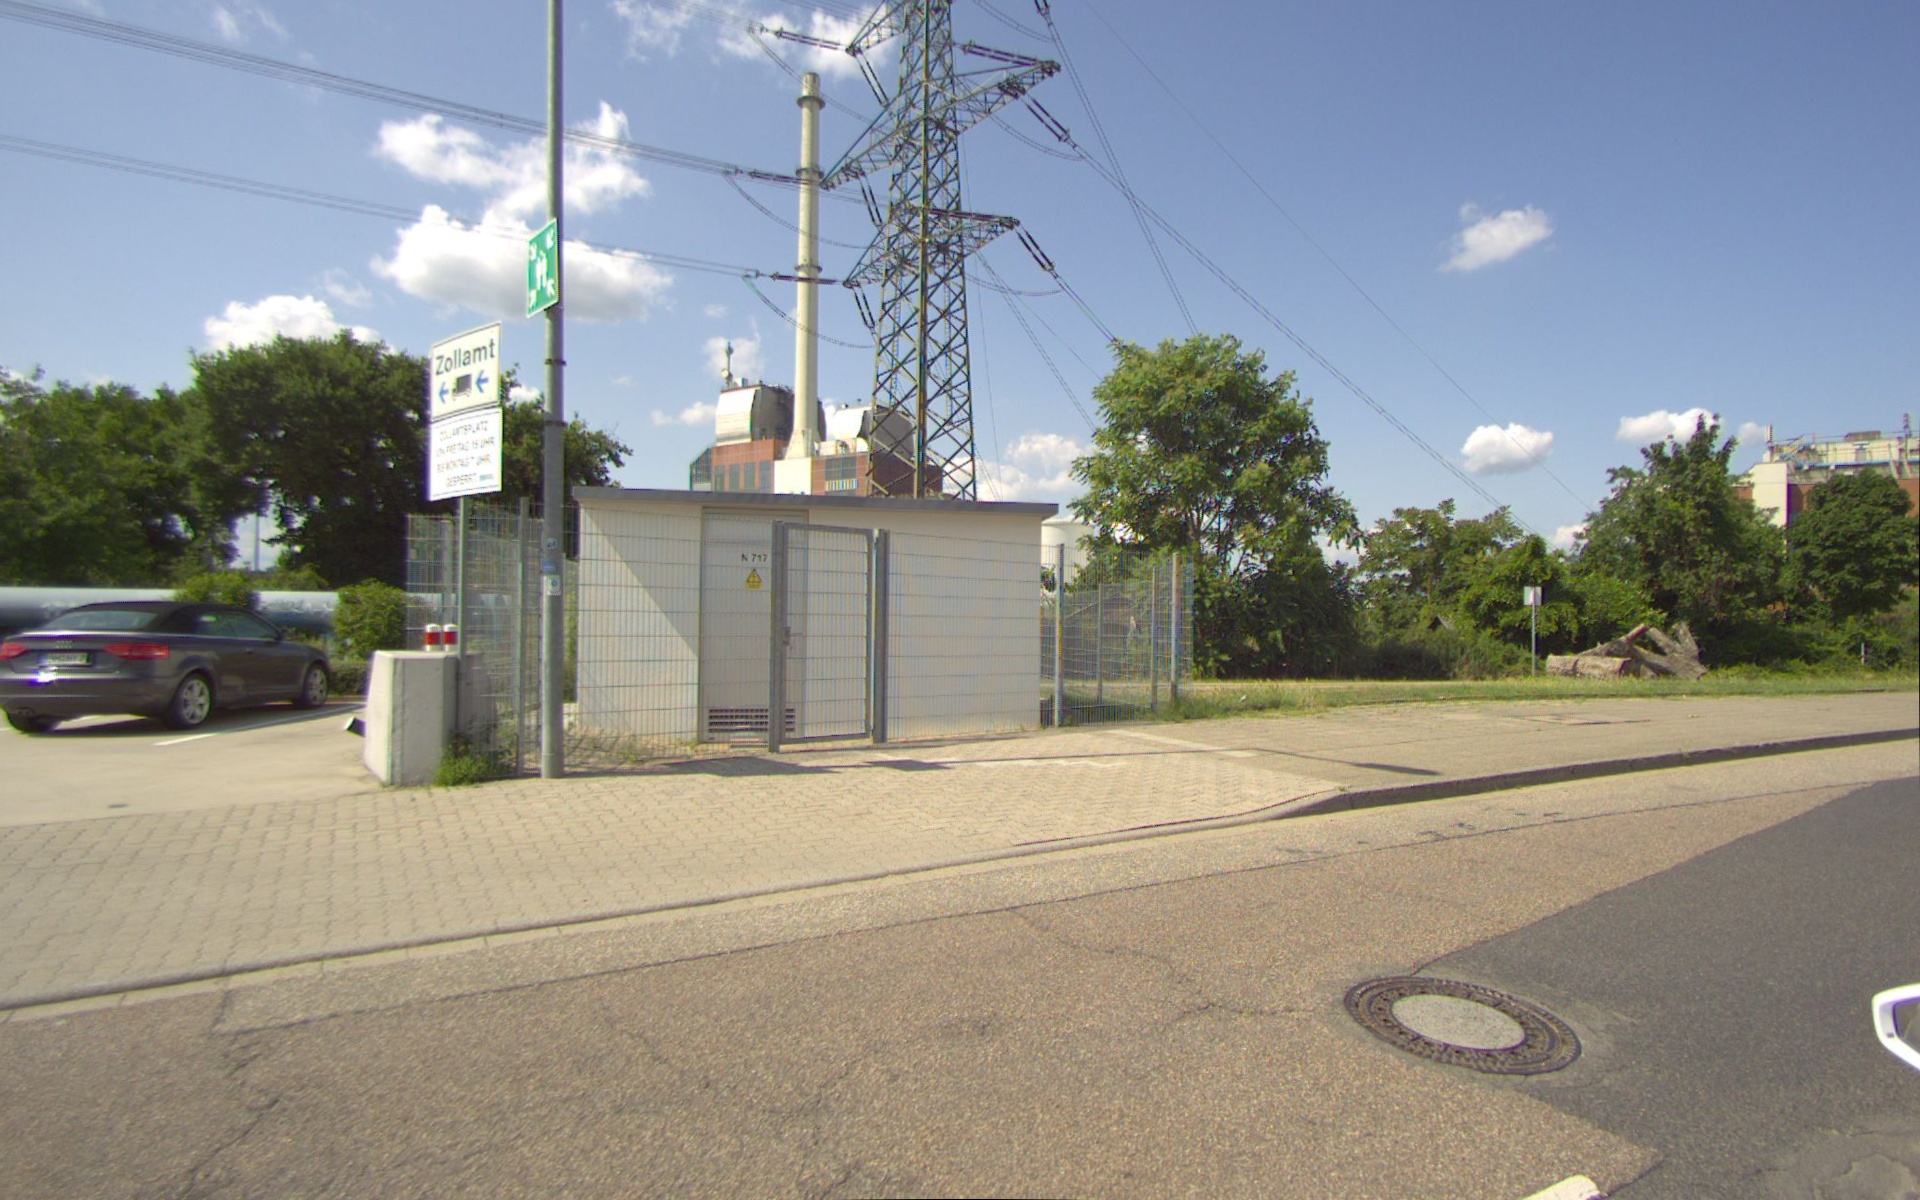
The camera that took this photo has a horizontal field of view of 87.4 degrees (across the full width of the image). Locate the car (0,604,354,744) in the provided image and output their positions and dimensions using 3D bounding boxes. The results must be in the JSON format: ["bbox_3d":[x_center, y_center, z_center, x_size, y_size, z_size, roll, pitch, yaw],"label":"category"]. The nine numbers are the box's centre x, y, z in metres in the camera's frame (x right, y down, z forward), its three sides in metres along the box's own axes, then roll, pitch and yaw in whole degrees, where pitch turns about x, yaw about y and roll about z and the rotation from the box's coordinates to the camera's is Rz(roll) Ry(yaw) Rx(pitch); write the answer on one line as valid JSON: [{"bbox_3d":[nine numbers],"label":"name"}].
[{"bbox_3d":[-9.277,0.783,12.109,1.769,1.396,3.997,1,-1,-5],"label":"car"}]
